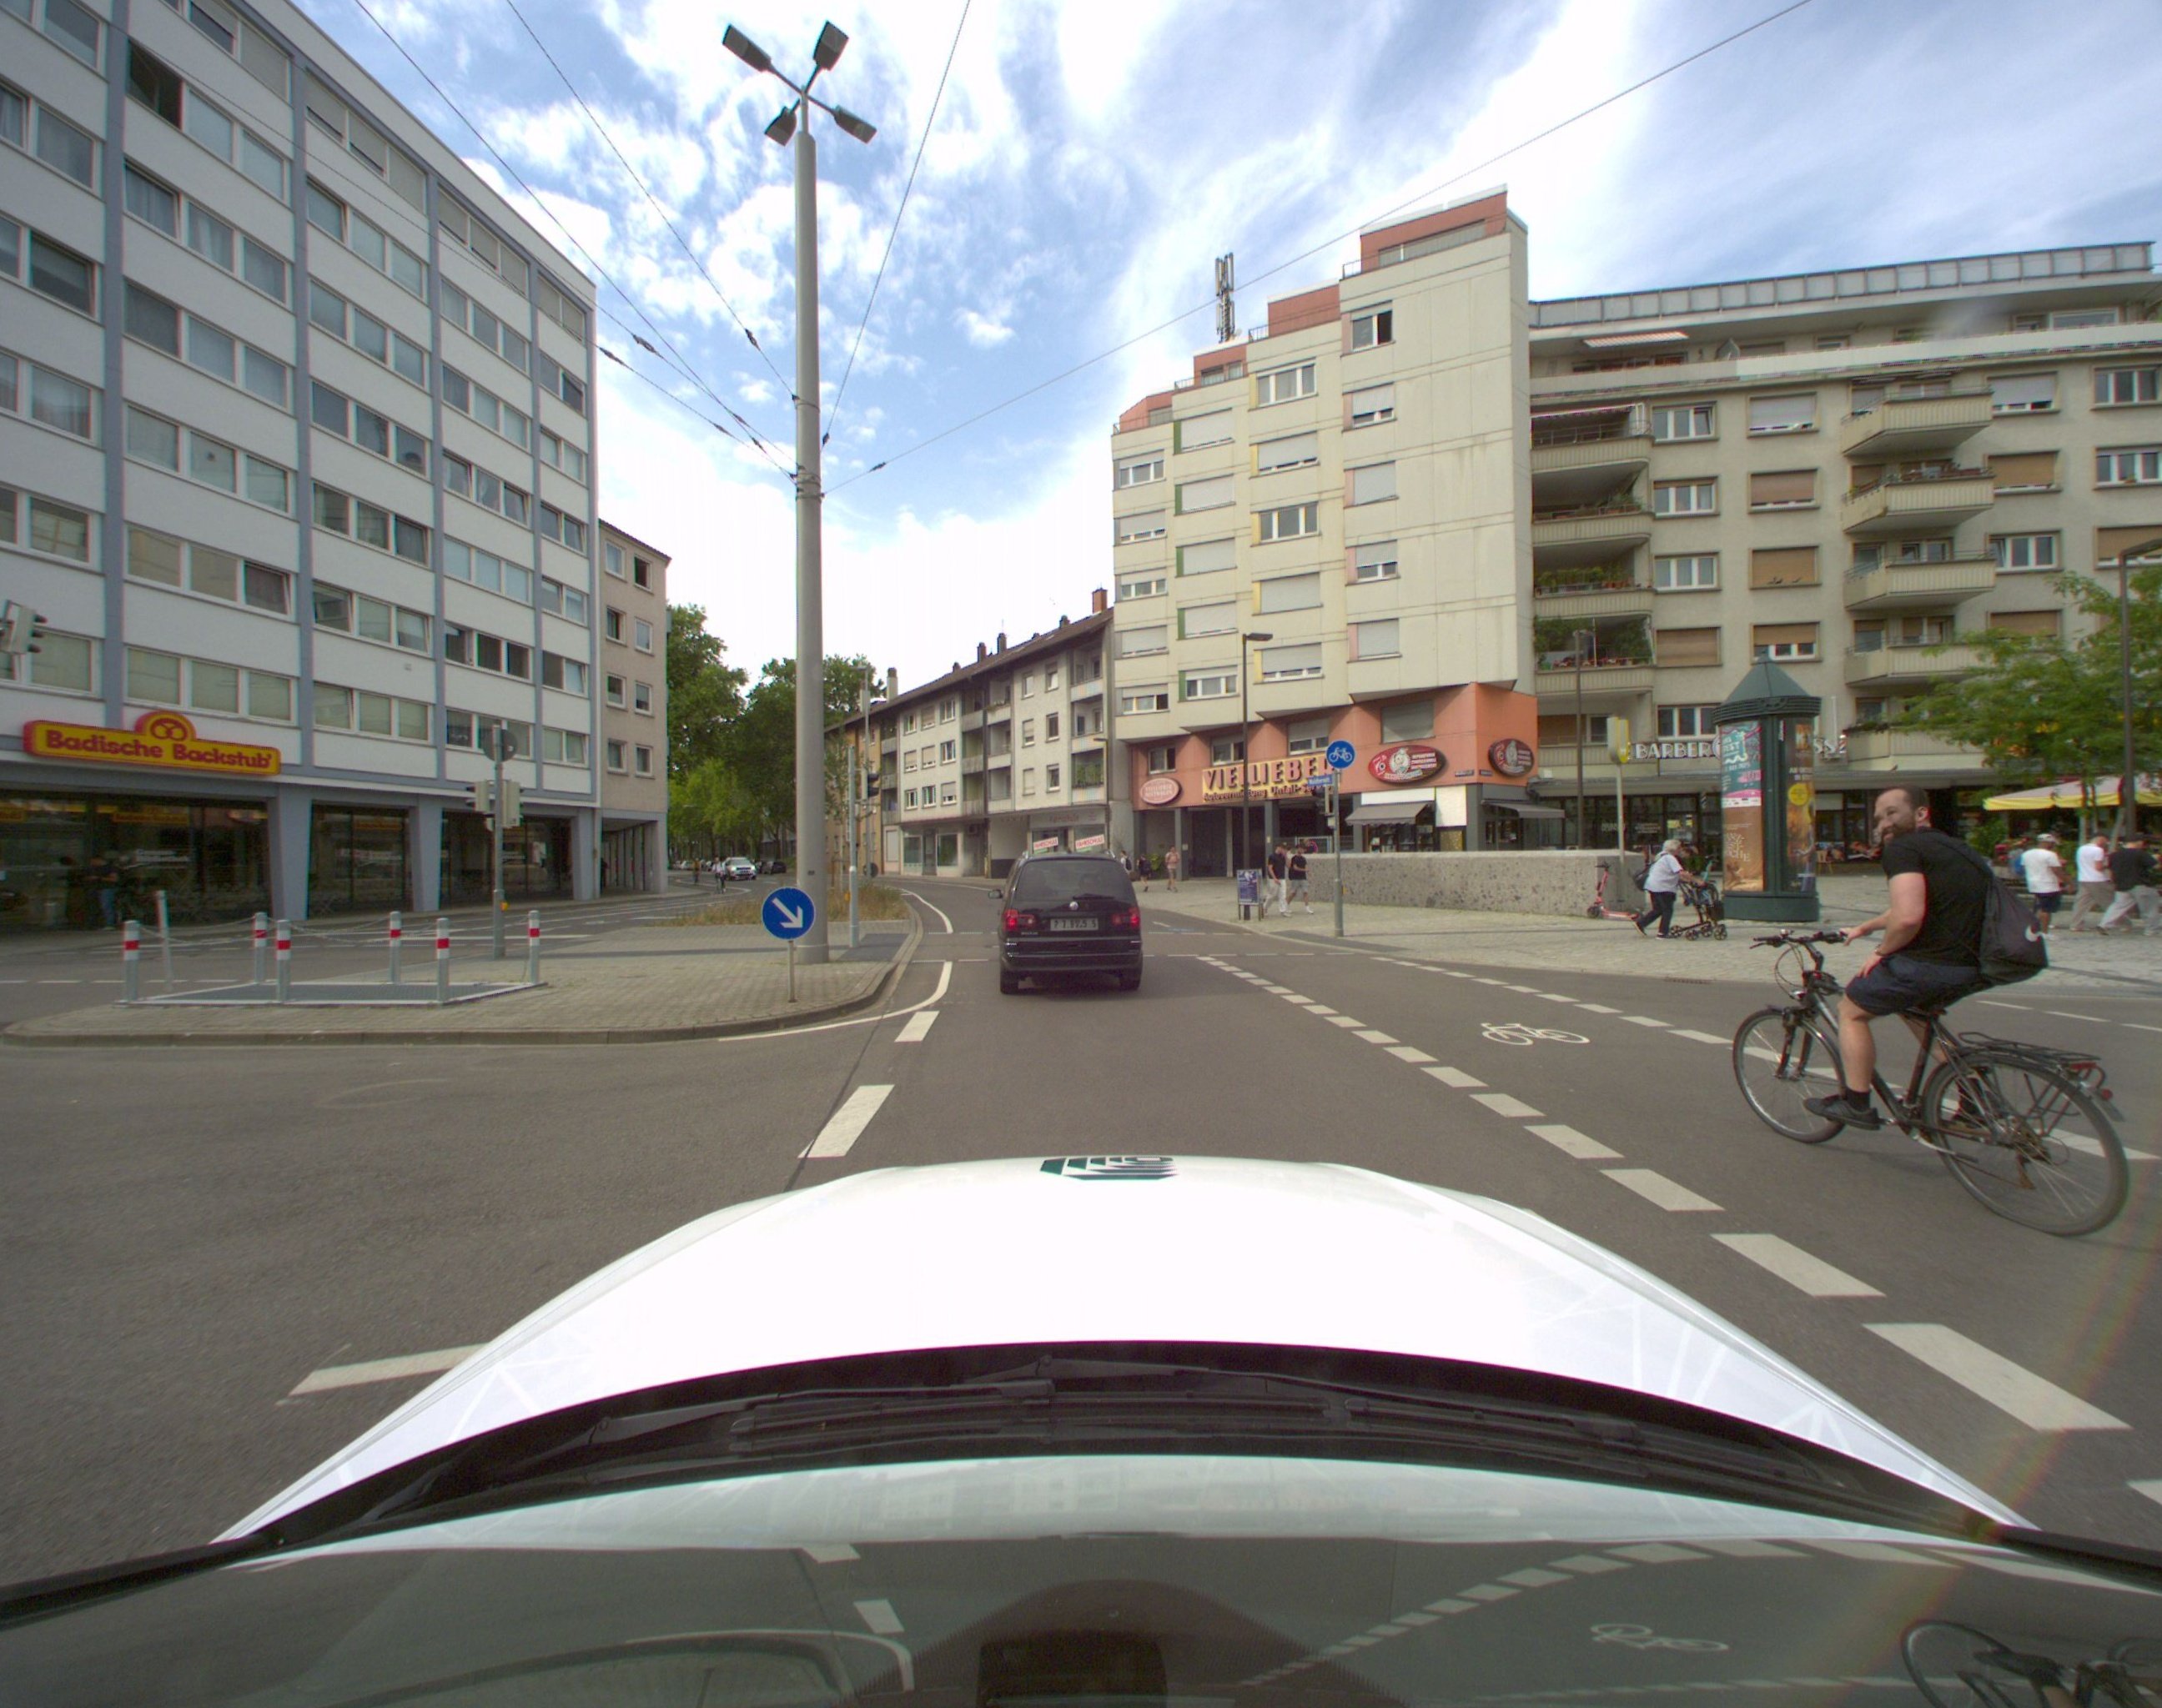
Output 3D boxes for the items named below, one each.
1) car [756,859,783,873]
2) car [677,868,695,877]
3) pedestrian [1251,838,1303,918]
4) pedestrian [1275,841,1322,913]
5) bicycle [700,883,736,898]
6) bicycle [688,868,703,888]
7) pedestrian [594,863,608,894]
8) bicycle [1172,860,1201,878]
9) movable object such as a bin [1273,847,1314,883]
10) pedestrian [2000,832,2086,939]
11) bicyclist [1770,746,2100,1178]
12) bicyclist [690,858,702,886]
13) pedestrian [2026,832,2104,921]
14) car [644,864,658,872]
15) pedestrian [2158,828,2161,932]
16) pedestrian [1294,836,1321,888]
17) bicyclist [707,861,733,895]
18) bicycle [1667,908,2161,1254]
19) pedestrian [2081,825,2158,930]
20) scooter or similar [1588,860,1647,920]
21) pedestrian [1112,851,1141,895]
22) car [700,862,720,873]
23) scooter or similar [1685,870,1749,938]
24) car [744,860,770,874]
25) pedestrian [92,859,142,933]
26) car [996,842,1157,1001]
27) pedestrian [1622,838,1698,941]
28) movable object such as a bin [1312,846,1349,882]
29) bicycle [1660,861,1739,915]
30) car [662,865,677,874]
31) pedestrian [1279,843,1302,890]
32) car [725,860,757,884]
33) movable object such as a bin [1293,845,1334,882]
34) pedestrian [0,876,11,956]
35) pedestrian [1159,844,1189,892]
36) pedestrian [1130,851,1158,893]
[{"bbox_3d":[-33.294,1.294,87.017,1.671,1.422,3.823,-1,1,-37],"label":"car"},{"bbox_3d":[-61.610,2.873,127.043,1.689,1.394,4.411,0,-1,-37],"label":"car"},{"bbox_3d":[5.008,0.597,20.829,0.725,1.971,1.002,-4,2,-41],"label":"pedestrian"},{"bbox_3d":[5.657,0.590,21.173,0.680,1.799,0.876,-4,2,-41],"label":"pedestrian"},{"bbox_3d":[-17.647,1.764,39.611,0.480,0.588,2.005,-1,0,12],"label":"bicycle"},{"bbox_3d":[-24.906,1.546,52.580,0.515,1.225,1.546,-1,0,-37],"label":"bicycle"},{"bbox_3d":[-27.299,1.405,46.283,0.585,1.757,0.775,1,-2,-36],"label":"pedestrian"},{"bbox_3d":[5.466,0.773,42.397,0.456,0.896,1.660,-1,1,-36],"label":"bicycle"},{"bbox_3d":[8.950,0.450,34.286,1.154,1.460,1.210,-1,0,-37],"label":"movable object such as a bin"},{"bbox_3d":[15.619,0.479,13.248,0.796,1.680,0.630,2,2,43],"label":"pedestrian"},{"bbox_3d":[3.782,0.425,3.685,0.557,1.709,0.862,-1,0,-3],"label":"bicyclist"},{"bbox_3d":[-24.874,1.153,52.552,0.542,1.743,0.749,-1,0,-37],"label":"bicyclist"},{"bbox_3d":[17.822,0.406,14.764,0.813,1.576,0.416,-1,0,10],"label":"pedestrian"},{"bbox_3d":[-79.837,2.602,151.249,1.689,1.394,3.835,0,-1,-37],"label":"car"},{"bbox_3d":[18.258,0.431,13.345,0.589,1.737,0.416,-1,0,8],"label":"pedestrian"},{"bbox_3d":[8.382,0.290,30.191,0.677,1.903,0.583,-4,2,-35],"label":"pedestrian"},{"bbox_3d":[-17.593,1.155,39.698,0.604,1.646,1.041,-1,0,12],"label":"bicyclist"},{"bbox_3d":[3.821,0.909,4.032,0.404,1.122,2.017,-1,1,1],"label":"bicycle"},{"bbox_3d":[17.635,0.393,13.835,0.695,1.737,0.416,-1,0,8],"label":"pedestrian"},{"bbox_3d":[11.291,0.745,17.171,0.286,1.212,1.120,-1,0,-14],"label":"scooter or similar"},{"bbox_3d":[1.857,0.762,33.548,0.755,1.750,0.851,-5,2,-28],"label":"pedestrian"},{"bbox_3d":[-50.492,1.791,110.747,1.643,1.470,4.269,0,-1,-37],"label":"car"},{"bbox_3d":[10.901,0.847,13.971,0.694,1.110,0.612,-2,0,21],"label":"scooter or similar"},{"bbox_3d":[-36.205,1.436,90.983,1.671,1.422,3.903,-1,1,-37],"label":"car"},{"bbox_3d":[-23.744,1.024,20.070,0.473,1.765,0.590,-1,1,8],"label":"pedestrian"},{"bbox_3d":[-0.240,0.770,11.171,1.810,1.766,3.729,-1,0,-6],"label":"car"},{"bbox_3d":[10.134,0.612,14.285,0.927,1.740,0.689,-2,0,22],"label":"pedestrian"},{"bbox_3d":[10.955,0.422,35.736,1.010,1.515,1.154,-1,0,-37],"label":"movable object such as a bin"},{"bbox_3d":[13.563,0.713,17.836,2.458,1.013,0.539,-3,1,-33],"label":"bicycle"},{"bbox_3d":[-70.511,2.602,139.552,1.655,1.413,3.376,-1,0,-40],"label":"car"},{"bbox_3d":[7.659,0.441,29.814,0.476,1.672,0.583,-4,2,-35],"label":"pedestrian"},{"bbox_3d":[-24.864,1.280,59.496,1.841,1.660,4.287,-1,0,-26],"label":"car"},{"bbox_3d":[9.982,0.398,34.967,1.203,1.515,1.184,-1,0,-37],"label":"movable object such as a bin"},{"bbox_3d":[-21.247,1.210,15.716,0.496,1.559,0.518,-1,0,2],"label":"pedestrian"},{"bbox_3d":[3.765,0.559,32.969,0.661,1.852,0.961,-5,1,-33],"label":"pedestrian"},{"bbox_3d":[2.630,0.746,33.990,0.609,1.668,0.933,-5,2,-38],"label":"pedestrian"}]
